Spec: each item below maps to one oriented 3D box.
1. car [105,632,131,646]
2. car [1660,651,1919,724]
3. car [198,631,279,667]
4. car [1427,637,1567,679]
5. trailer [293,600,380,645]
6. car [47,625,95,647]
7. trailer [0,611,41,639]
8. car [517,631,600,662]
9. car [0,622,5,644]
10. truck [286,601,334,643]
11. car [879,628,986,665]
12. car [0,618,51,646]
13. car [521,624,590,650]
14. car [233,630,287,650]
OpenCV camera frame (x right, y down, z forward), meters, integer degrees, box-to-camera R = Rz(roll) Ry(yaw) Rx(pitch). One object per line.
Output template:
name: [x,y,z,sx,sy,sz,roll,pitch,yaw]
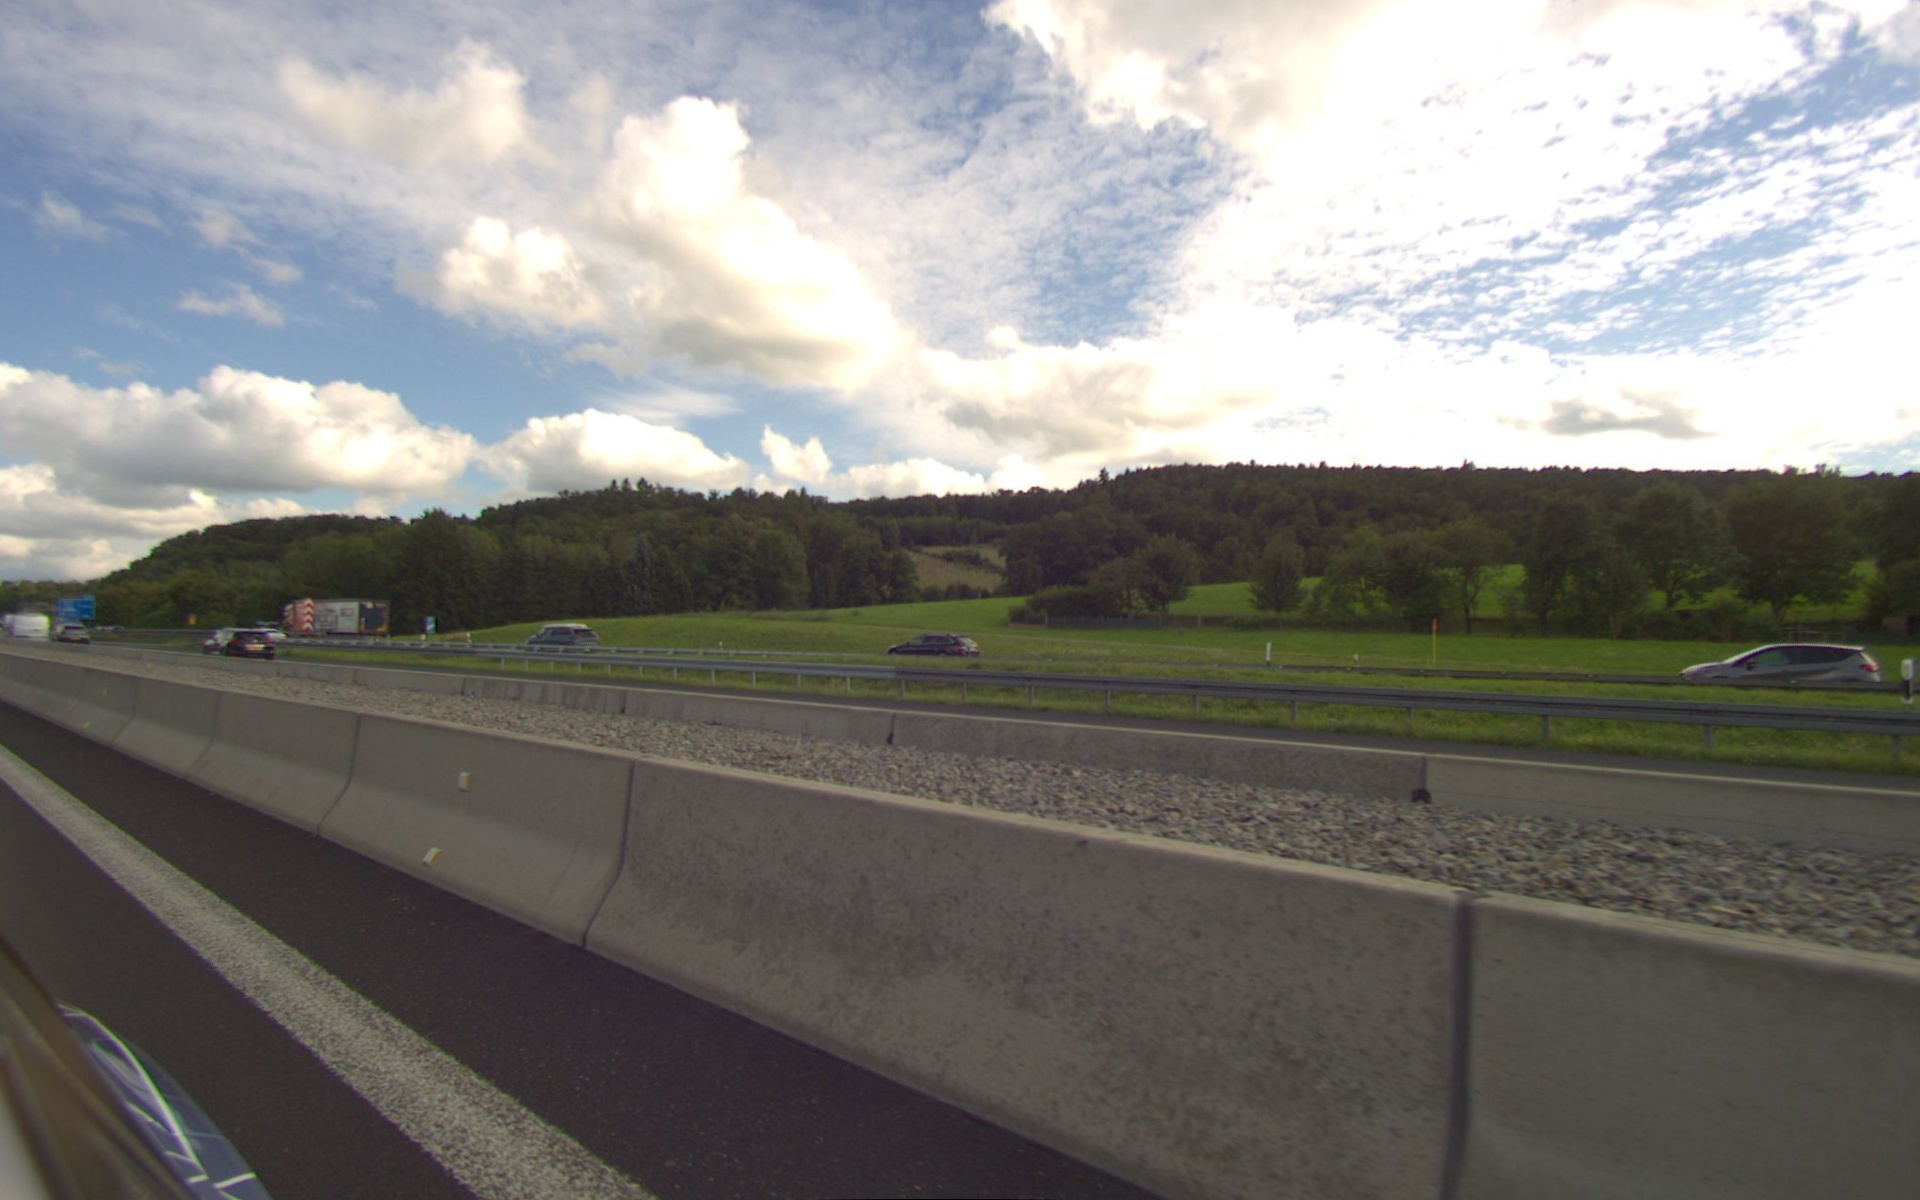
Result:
car: [-104.418,4.867,125.488,4.300,1.630,1.782,-1,-3,42]
car: [20.507,2.111,25.320,4.880,1.560,1.756,-1,-3,36]
car: [-30.786,2.071,43.142,4.689,1.412,1.735,-1,-3,41]
car: [21.882,2.329,41.336,4.880,1.560,1.756,-1,-3,36]
trailer: [-56.073,2.028,90.812,13.224,3.765,1.975,-1,-3,37]
car: [-64.436,2.593,73.346,4.505,1.544,1.973,-1,-3,41]
trailer: [-181.650,4.845,195.621,14.693,5.200,3.080,-1,-3,37]
car: [-21.629,2.468,54.439,4.880,1.560,1.756,-1,-3,36]
car: [-70.320,2.353,72.678,5.018,1.544,1.973,-1,-3,41]
truck: [-60.596,2.081,94.273,5.141,3.790,1.975,-1,-3,37]
car: [-1.310,2.114,46.448,4.880,1.560,1.756,-1,-3,36]
car: [-55.055,1.866,59.289,5.745,1.544,1.973,-1,-3,41]
car: [-25.954,2.355,64.826,4.880,1.560,1.756,-1,-3,36]
car: [-51.876,2.954,74.973,4.386,1.411,1.758,0,-3,34]
